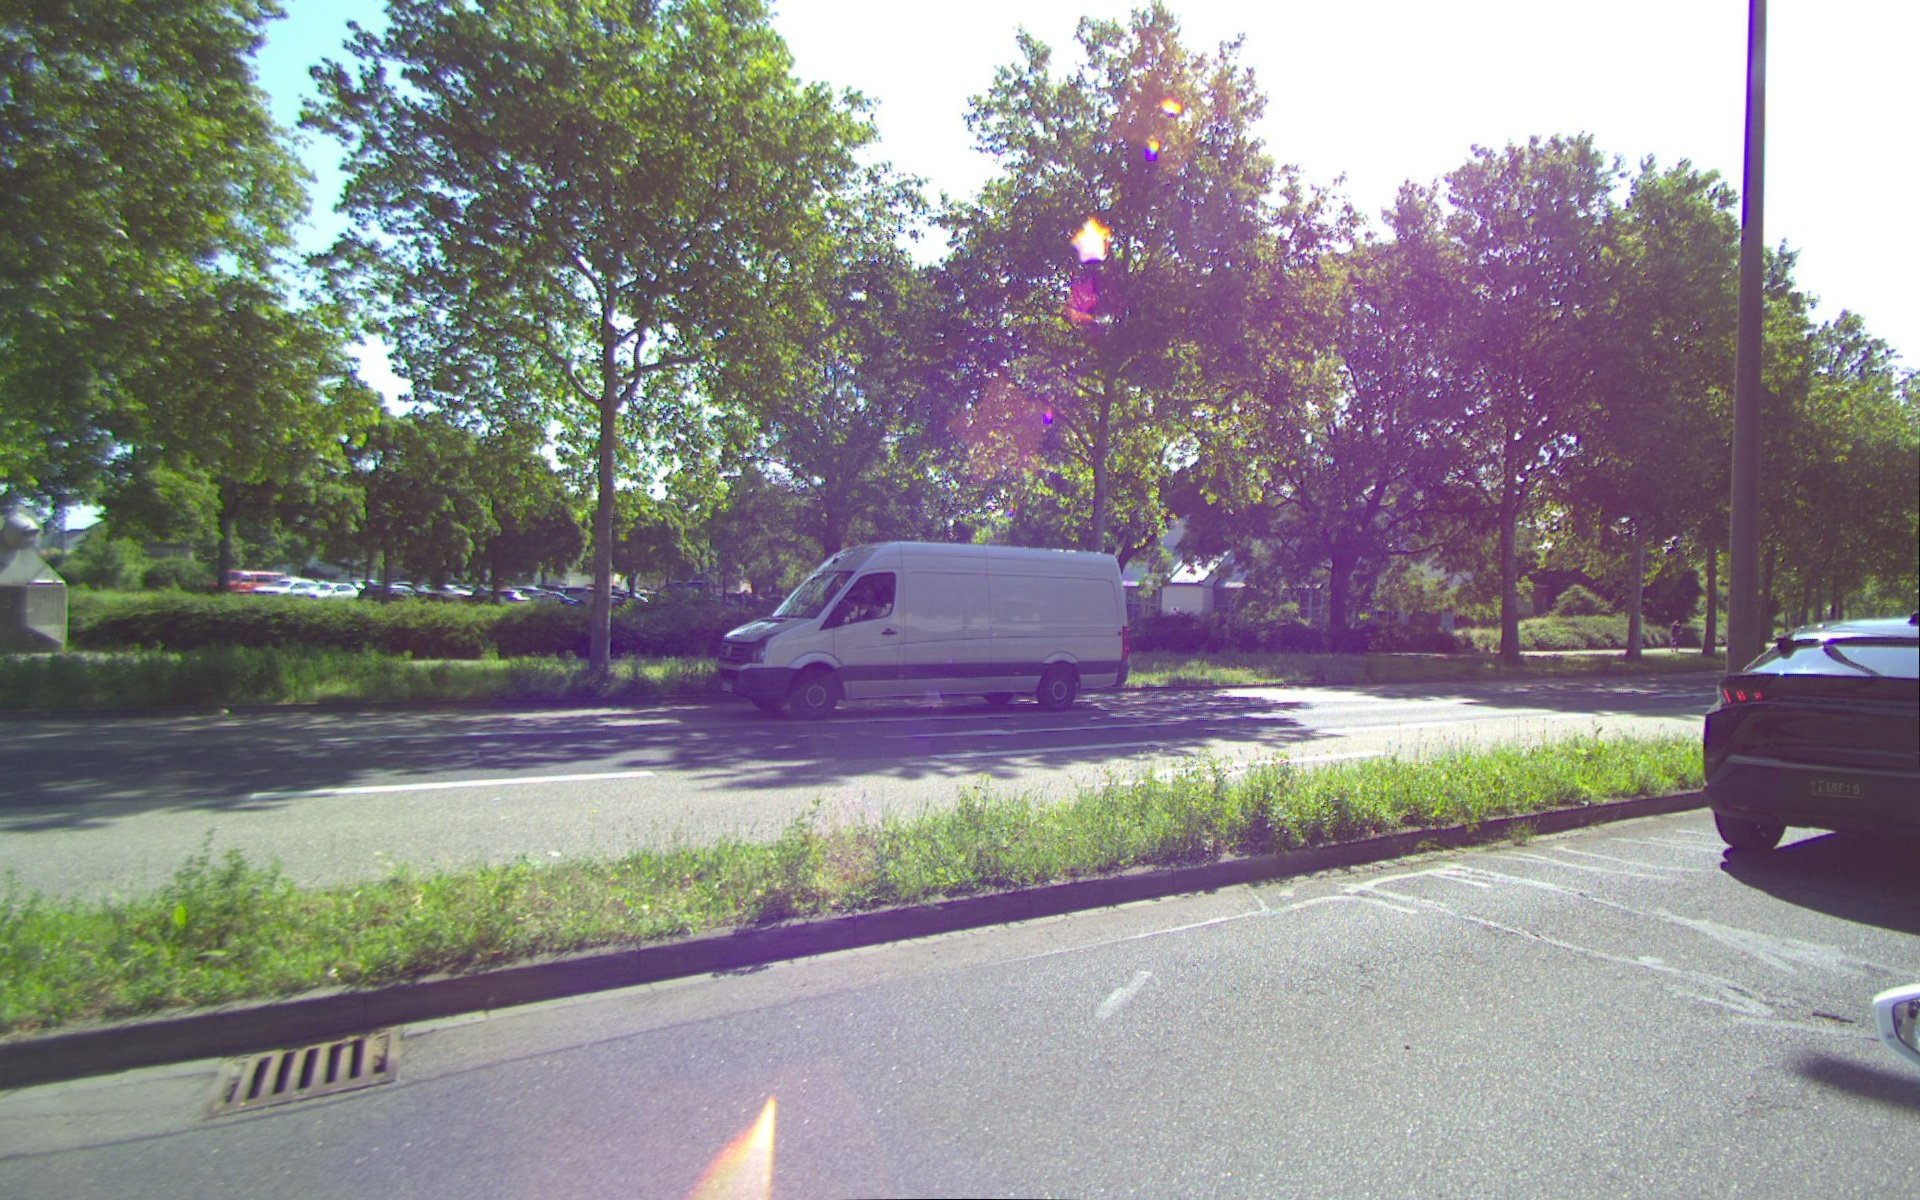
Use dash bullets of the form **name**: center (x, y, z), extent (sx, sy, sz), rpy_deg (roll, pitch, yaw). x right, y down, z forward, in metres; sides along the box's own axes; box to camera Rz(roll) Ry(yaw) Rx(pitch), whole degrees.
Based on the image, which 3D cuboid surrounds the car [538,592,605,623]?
- **car**: center (-26.960, 0.539, 69.745), extent (3.921, 2.040, 1.818), rpy_deg (1, 0, 1)

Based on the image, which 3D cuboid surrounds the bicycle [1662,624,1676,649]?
- **bicycle**: center (41.499, 2.137, 58.786), extent (0.947, 1.403, 0.425), rpy_deg (1, 0, -40)

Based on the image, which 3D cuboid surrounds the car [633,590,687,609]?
- **car**: center (-24.743, -0.016, 82.884), extent (3.922, 1.511, 1.817), rpy_deg (1, 0, -2)

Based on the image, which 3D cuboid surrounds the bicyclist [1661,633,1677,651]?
- **bicyclist**: center (41.539, 2.461, 58.831), extent (1.413, 1.027, 0.425), rpy_deg (1, 0, -40)

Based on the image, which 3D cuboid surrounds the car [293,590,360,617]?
- **car**: center (-36.423, 0.184, 57.832), extent (1.419, 1.466, 3.343), rpy_deg (1, 0, 6)

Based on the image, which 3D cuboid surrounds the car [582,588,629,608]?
- **car**: center (-33.982, -0.201, 96.409), extent (3.850, 1.863, 1.770), rpy_deg (1, 0, 1)

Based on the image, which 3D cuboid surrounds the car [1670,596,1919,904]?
- **car**: center (7.067, 0.896, 7.031), extent (4.385, 1.718, 1.862), rpy_deg (2, -1, -31)

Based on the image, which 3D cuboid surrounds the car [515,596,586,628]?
- **car**: center (-26.951, 0.784, 66.146), extent (3.921, 2.040, 1.818), rpy_deg (1, 0, 1)

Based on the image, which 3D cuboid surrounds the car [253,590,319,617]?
- **car**: center (-39.125, 0.195, 58.377), extent (1.321, 1.466, 3.343), rpy_deg (1, 0, 6)

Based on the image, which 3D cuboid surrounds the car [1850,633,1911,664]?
- **car**: center (50.135, 2.601, 54.685), extent (4.356, 1.576, 1.781), rpy_deg (2, -1, -38)

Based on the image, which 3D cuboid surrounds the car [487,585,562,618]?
- **car**: center (-27.525, 0.096, 63.542), extent (3.921, 2.040, 1.818), rpy_deg (1, 0, 1)

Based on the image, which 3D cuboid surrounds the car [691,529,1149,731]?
- **car**: center (-0.420, 0.480, 15.881), extent (7.133, 2.648, 2.050), rpy_deg (1, -1, -31)

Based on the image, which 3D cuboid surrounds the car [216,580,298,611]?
- **car**: center (-41.910, -0.243, 59.998), extent (1.778, 1.725, 3.989), rpy_deg (1, 0, 6)
